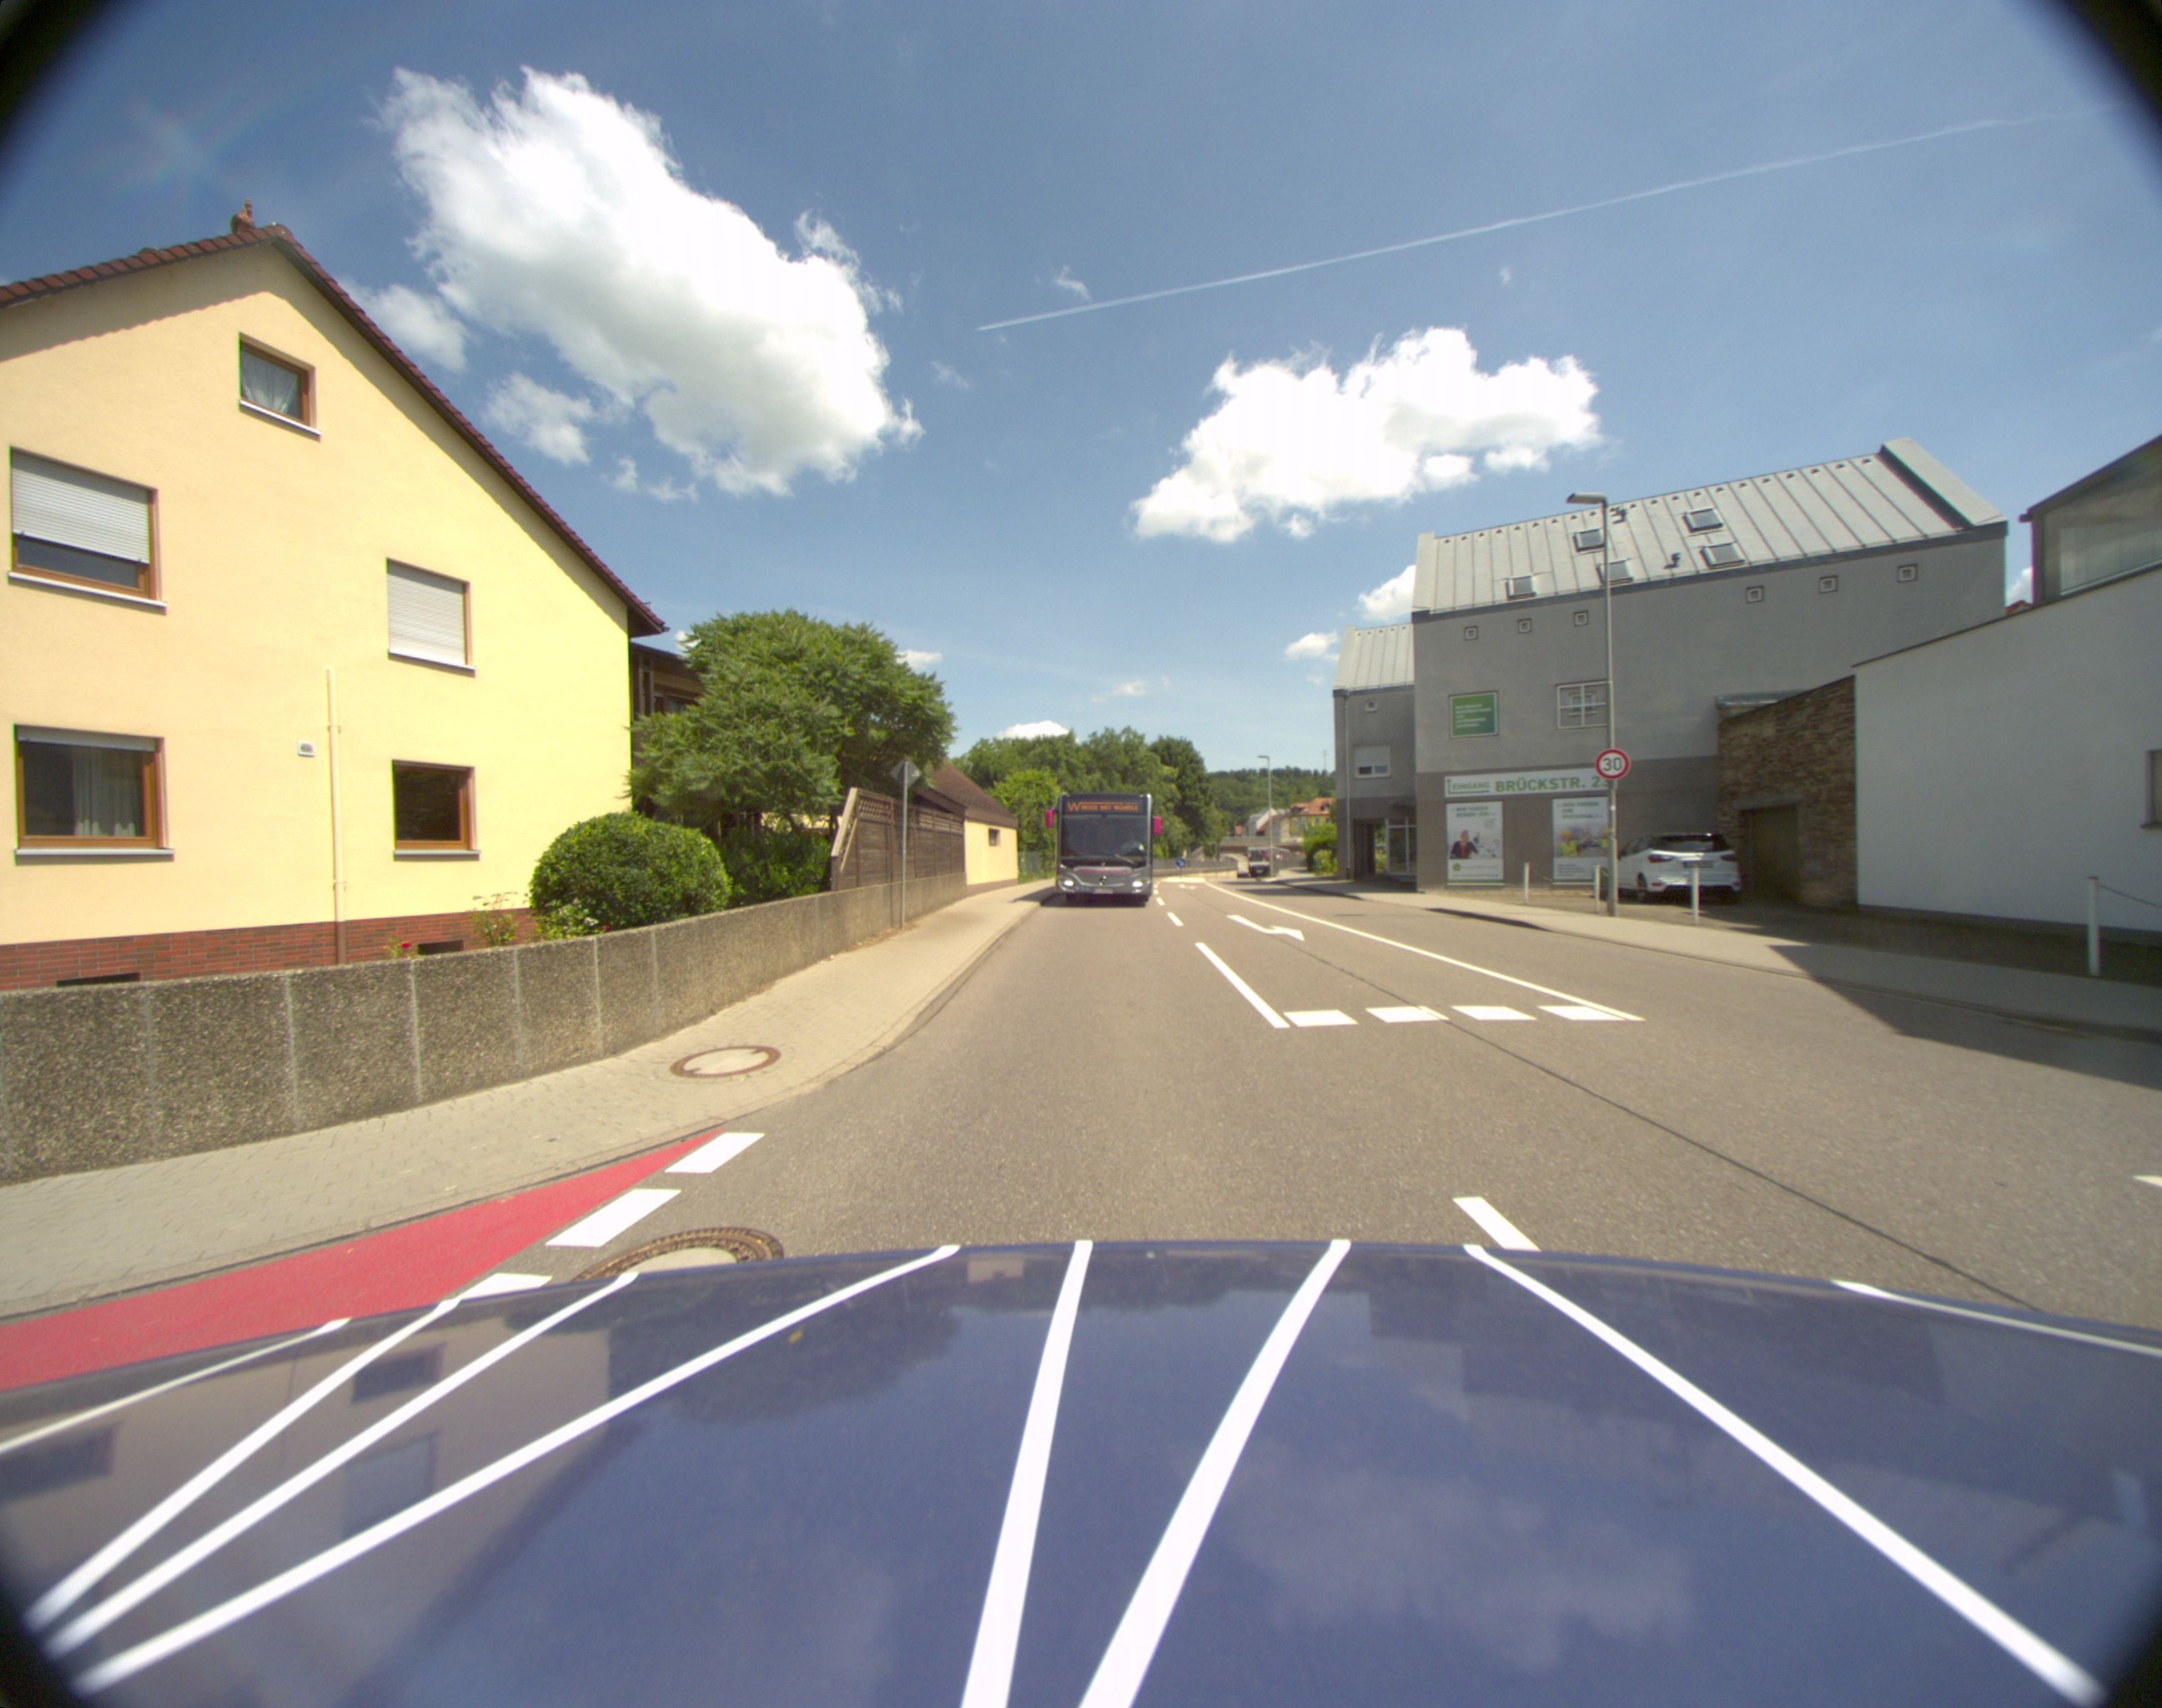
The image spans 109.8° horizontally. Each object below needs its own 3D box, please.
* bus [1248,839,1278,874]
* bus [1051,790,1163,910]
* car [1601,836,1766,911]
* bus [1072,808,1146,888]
[{"bbox_3d":[22.130,0.385,92.070,2.814,3.977,10.983,-1,-1,17],"label":"bus"},{"bbox_3d":[0.844,0.011,23.360,2.755,2.949,9.284,0,-1,3],"label":"bus"},{"bbox_3d":[14.210,0.409,18.241,1.995,1.565,4.260,0,0,22],"label":"car"},{"bbox_3d":[1.192,-0.129,32.699,2.755,2.949,9.284,0,-1,2],"label":"bus"}]
